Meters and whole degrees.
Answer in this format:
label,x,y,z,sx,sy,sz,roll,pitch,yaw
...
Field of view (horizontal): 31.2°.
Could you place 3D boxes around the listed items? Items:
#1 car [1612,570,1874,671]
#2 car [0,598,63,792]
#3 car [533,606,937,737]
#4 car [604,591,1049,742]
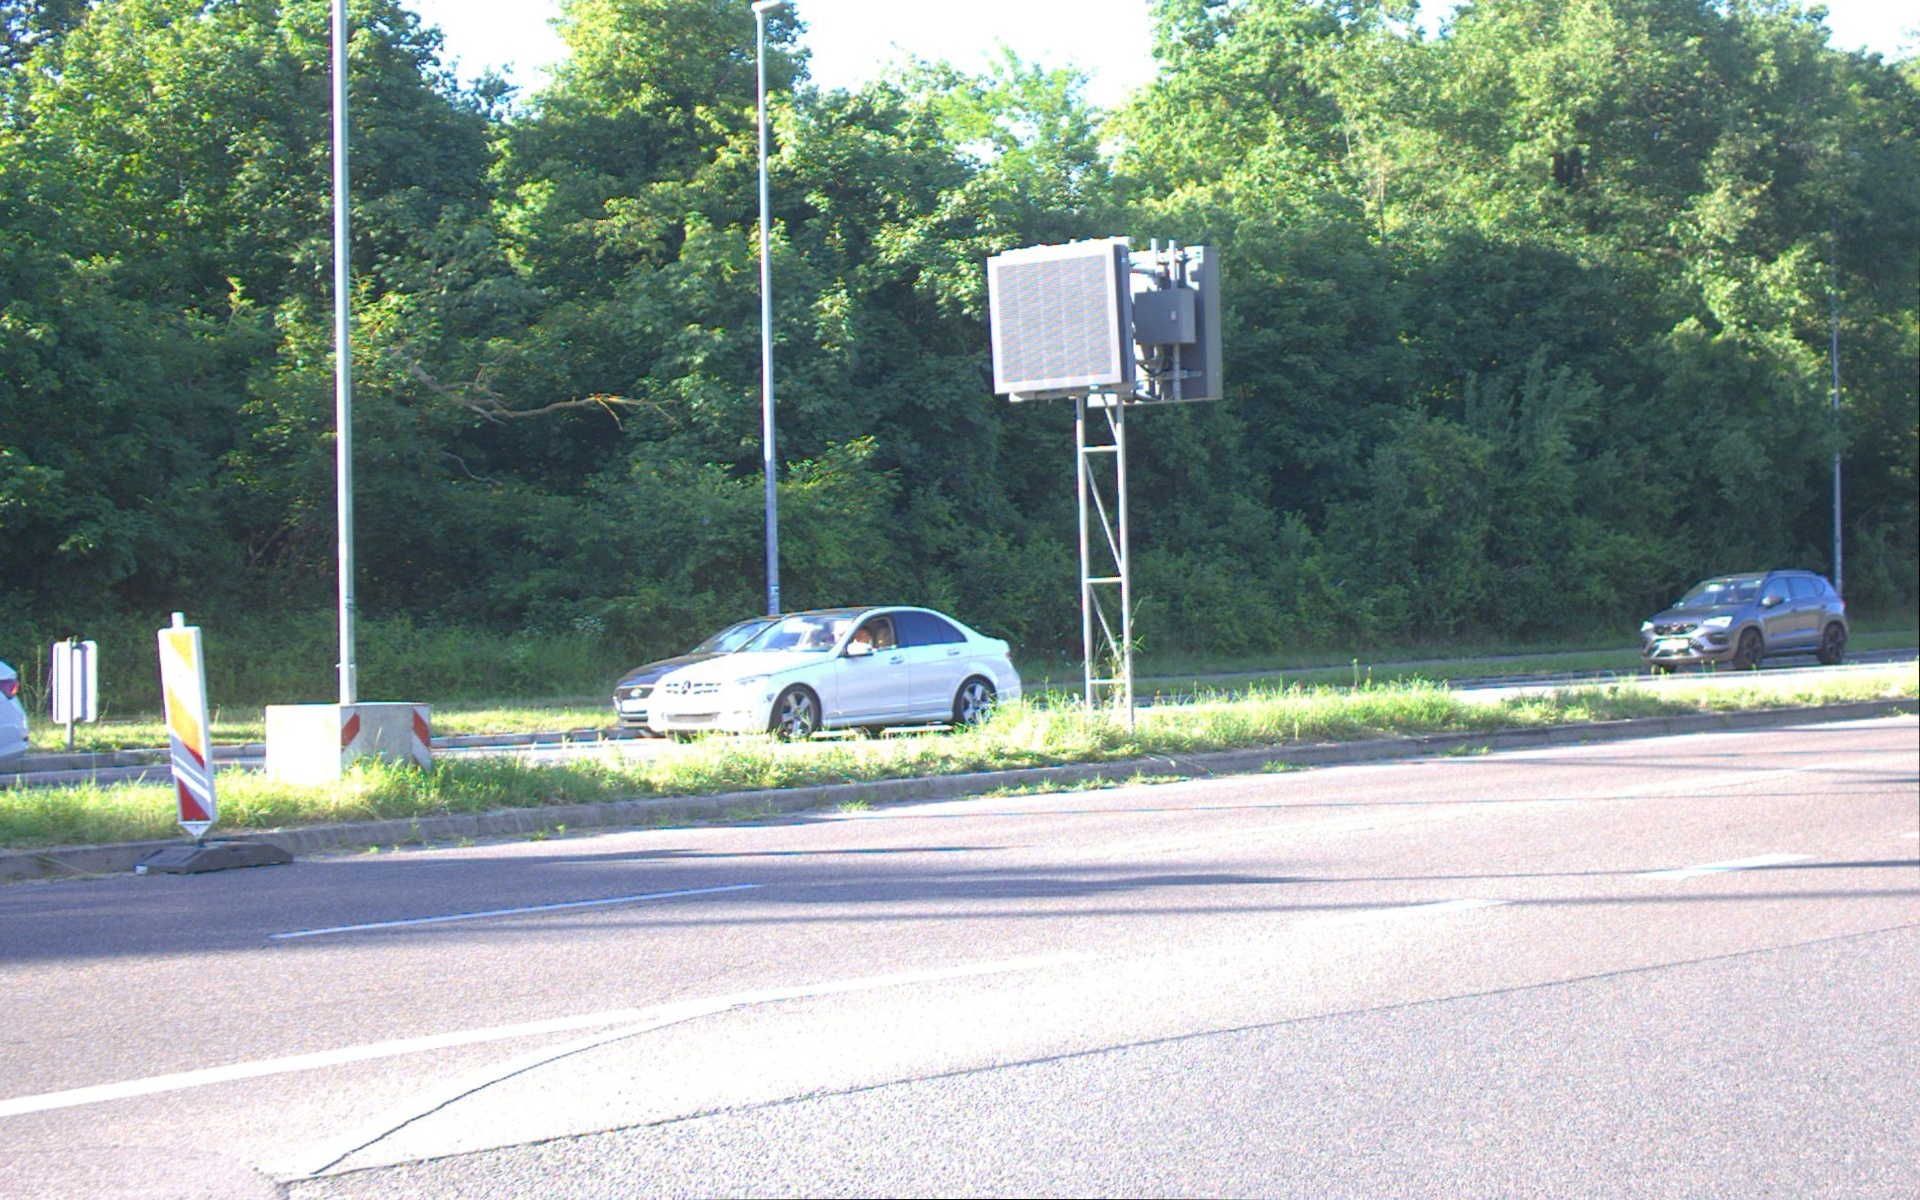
label,x,y,z,sx,sy,sz,roll,pitch,yaw
car,12.870,0.320,56.351,1.999,1.524,4.639,-1,0,45
car,-9.795,0.830,27.421,1.998,1.575,4.822,-1,0,40
car,-2.644,0.824,41.221,1.999,1.379,4.639,-1,0,45
car,-1.355,0.672,36.822,1.998,1.431,4.796,-1,0,41
